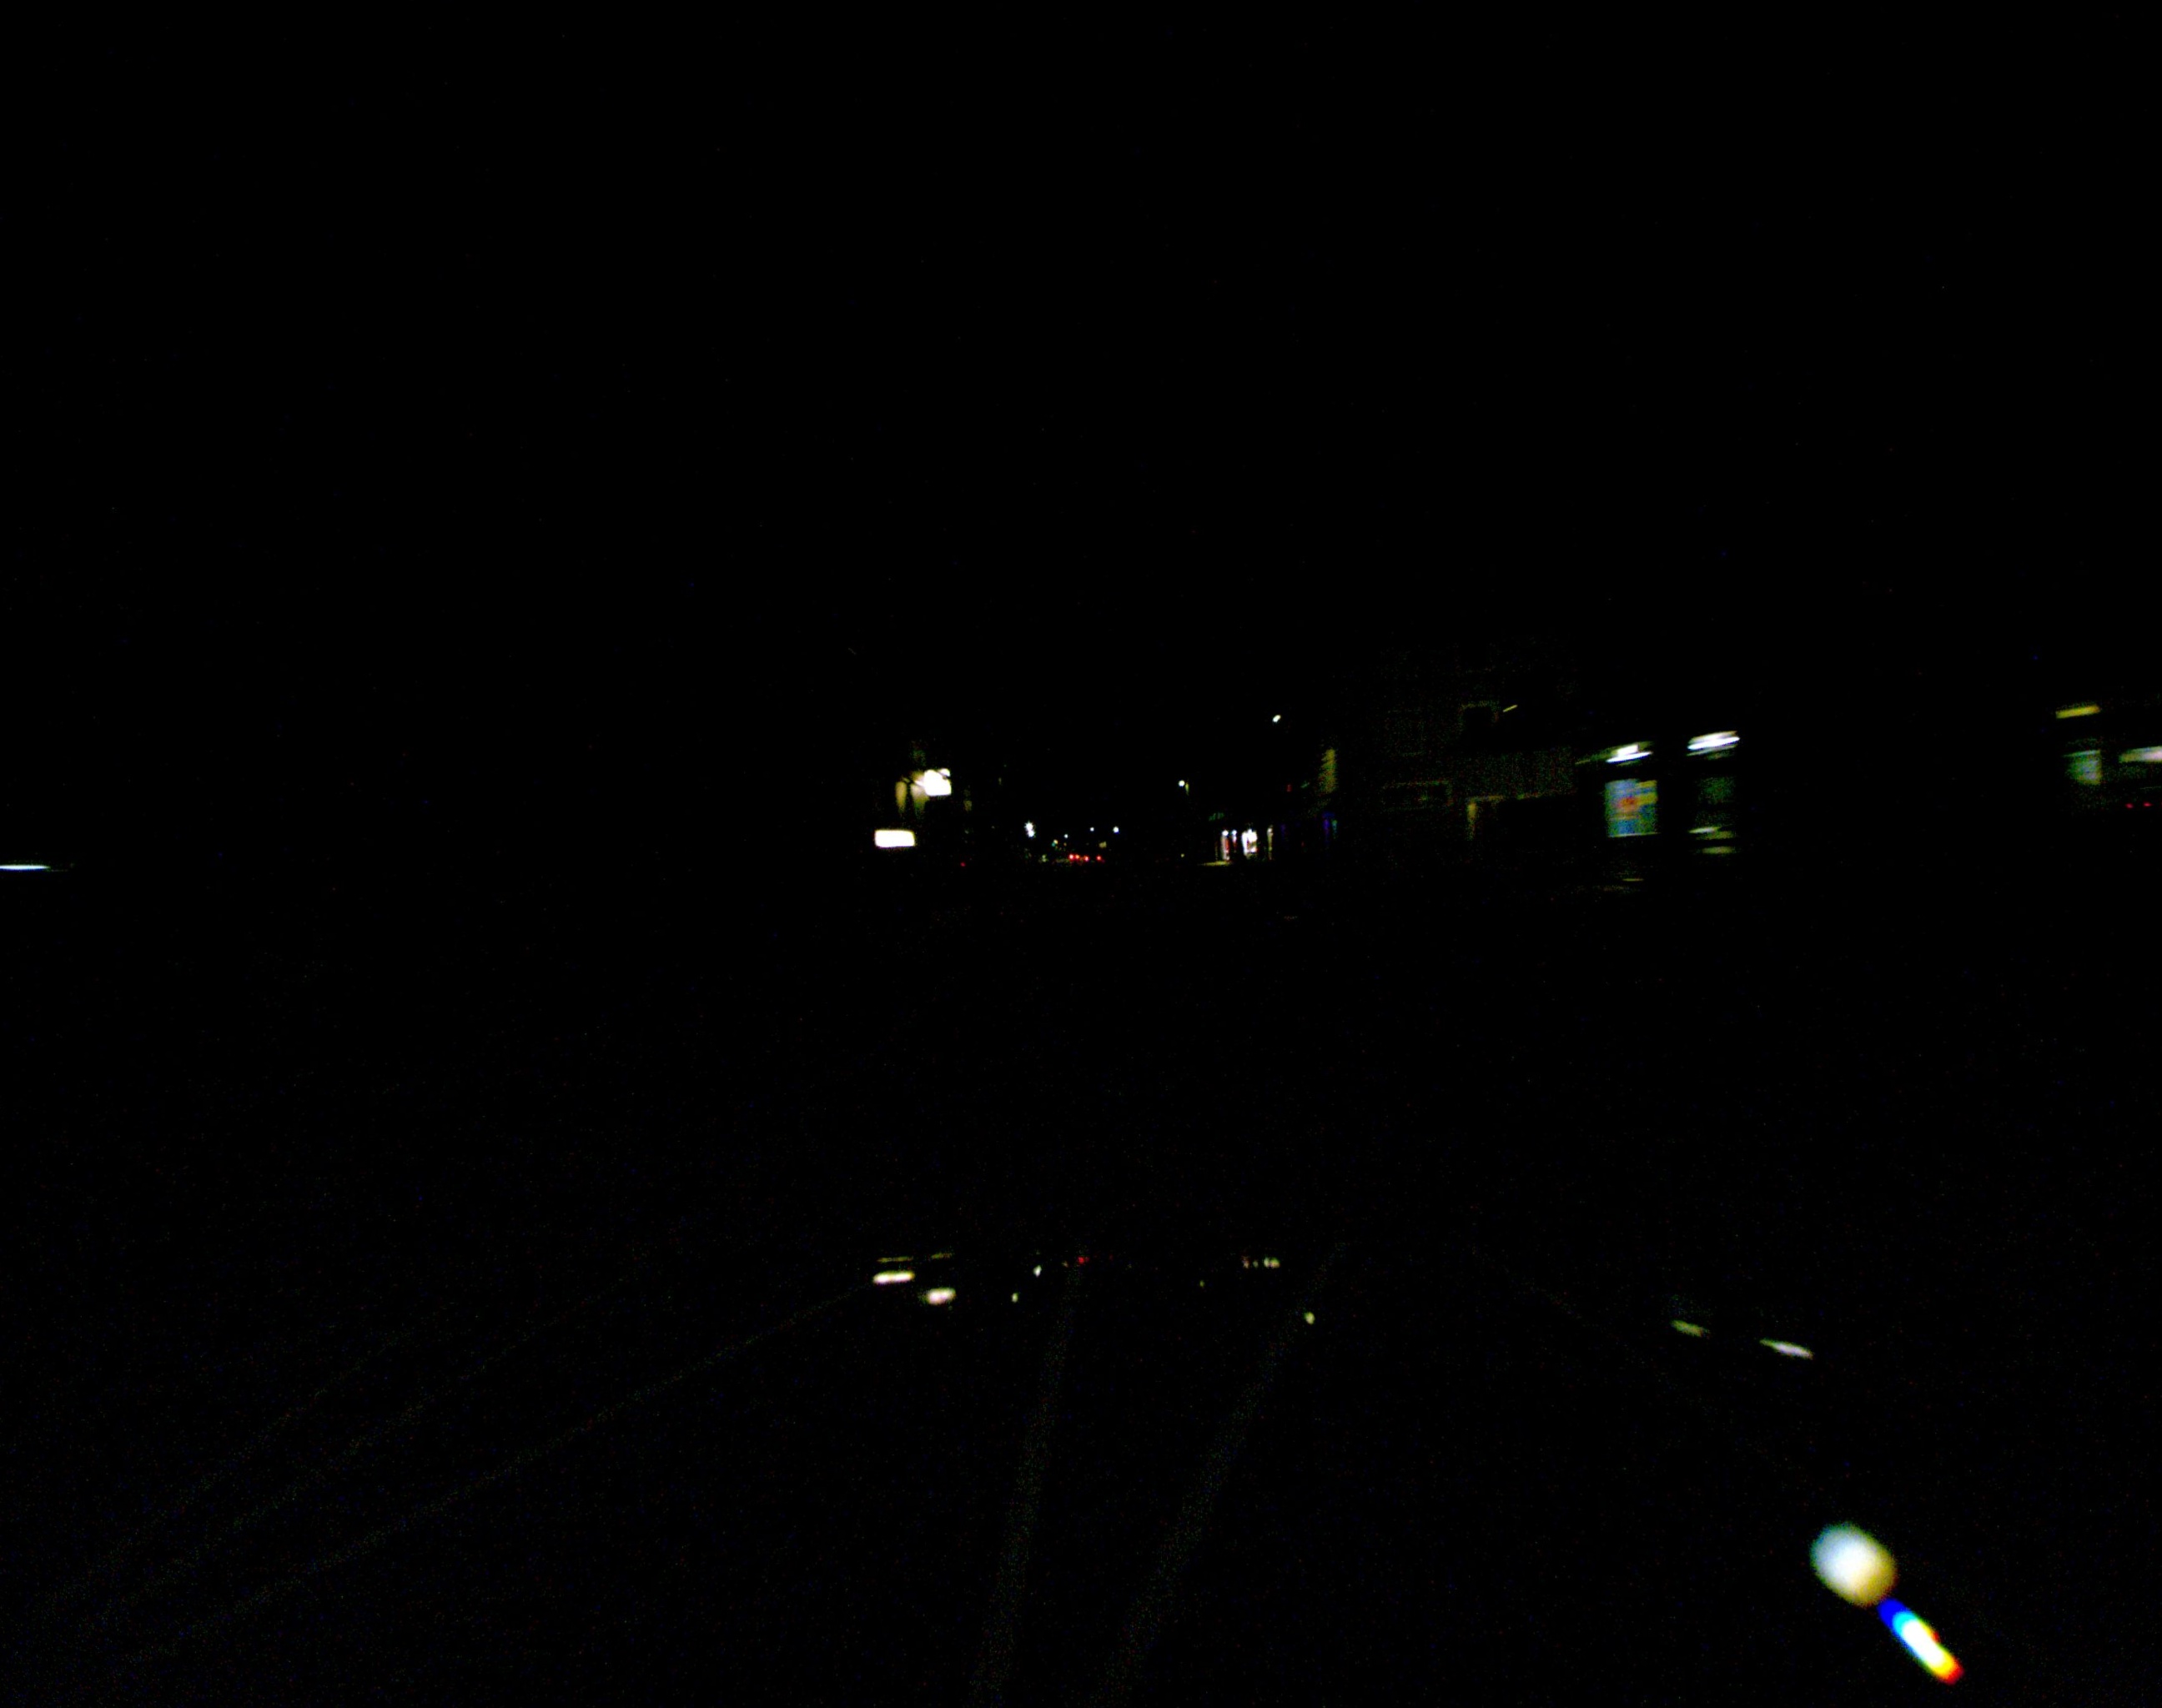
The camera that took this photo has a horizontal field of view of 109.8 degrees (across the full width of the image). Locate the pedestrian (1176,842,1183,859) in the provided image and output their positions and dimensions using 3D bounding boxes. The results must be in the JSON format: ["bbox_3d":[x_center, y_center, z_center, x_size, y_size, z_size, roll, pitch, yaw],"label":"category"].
[{"bbox_3d":[9.042,-0.313,69.852,0.529,1.579,0.666,-3,1,3],"label":"pedestrian"}]

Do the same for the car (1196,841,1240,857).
[{"bbox_3d":[13.023,-0.468,72.247,3.833,1.408,1.652,-2,1,1],"label":"car"}]

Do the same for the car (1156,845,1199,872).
[{"bbox_3d":[5.957,0.251,47.447,1.901,1.411,4.929,-5,1,-1],"label":"car"}]

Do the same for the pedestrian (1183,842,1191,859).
[{"bbox_3d":[9.739,-0.331,69.664,0.529,1.579,0.666,-3,1,0],"label":"pedestrian"}]

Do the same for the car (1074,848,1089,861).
[{"bbox_3d":[0.032,0.066,105.760,1.753,1.635,4.306,-3,1,-4],"label":"car"}]

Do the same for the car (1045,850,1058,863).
[{"bbox_3d":[-3.736,0.270,95.724,1.606,1.474,3.698,-3,1,-3],"label":"car"}]

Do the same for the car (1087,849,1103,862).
[{"bbox_3d":[1.575,0.146,86.271,1.721,1.420,3.815,-3,1,0],"label":"car"}]

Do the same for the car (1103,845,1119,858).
[{"bbox_3d":[4.005,-0.367,101.671,1.814,1.637,3.802,-5,1,-1],"label":"car"}]

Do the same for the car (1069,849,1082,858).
[{"bbox_3d":[-0.896,-0.091,122.375,1.822,1.271,3.915,-3,1,-1],"label":"car"}]
